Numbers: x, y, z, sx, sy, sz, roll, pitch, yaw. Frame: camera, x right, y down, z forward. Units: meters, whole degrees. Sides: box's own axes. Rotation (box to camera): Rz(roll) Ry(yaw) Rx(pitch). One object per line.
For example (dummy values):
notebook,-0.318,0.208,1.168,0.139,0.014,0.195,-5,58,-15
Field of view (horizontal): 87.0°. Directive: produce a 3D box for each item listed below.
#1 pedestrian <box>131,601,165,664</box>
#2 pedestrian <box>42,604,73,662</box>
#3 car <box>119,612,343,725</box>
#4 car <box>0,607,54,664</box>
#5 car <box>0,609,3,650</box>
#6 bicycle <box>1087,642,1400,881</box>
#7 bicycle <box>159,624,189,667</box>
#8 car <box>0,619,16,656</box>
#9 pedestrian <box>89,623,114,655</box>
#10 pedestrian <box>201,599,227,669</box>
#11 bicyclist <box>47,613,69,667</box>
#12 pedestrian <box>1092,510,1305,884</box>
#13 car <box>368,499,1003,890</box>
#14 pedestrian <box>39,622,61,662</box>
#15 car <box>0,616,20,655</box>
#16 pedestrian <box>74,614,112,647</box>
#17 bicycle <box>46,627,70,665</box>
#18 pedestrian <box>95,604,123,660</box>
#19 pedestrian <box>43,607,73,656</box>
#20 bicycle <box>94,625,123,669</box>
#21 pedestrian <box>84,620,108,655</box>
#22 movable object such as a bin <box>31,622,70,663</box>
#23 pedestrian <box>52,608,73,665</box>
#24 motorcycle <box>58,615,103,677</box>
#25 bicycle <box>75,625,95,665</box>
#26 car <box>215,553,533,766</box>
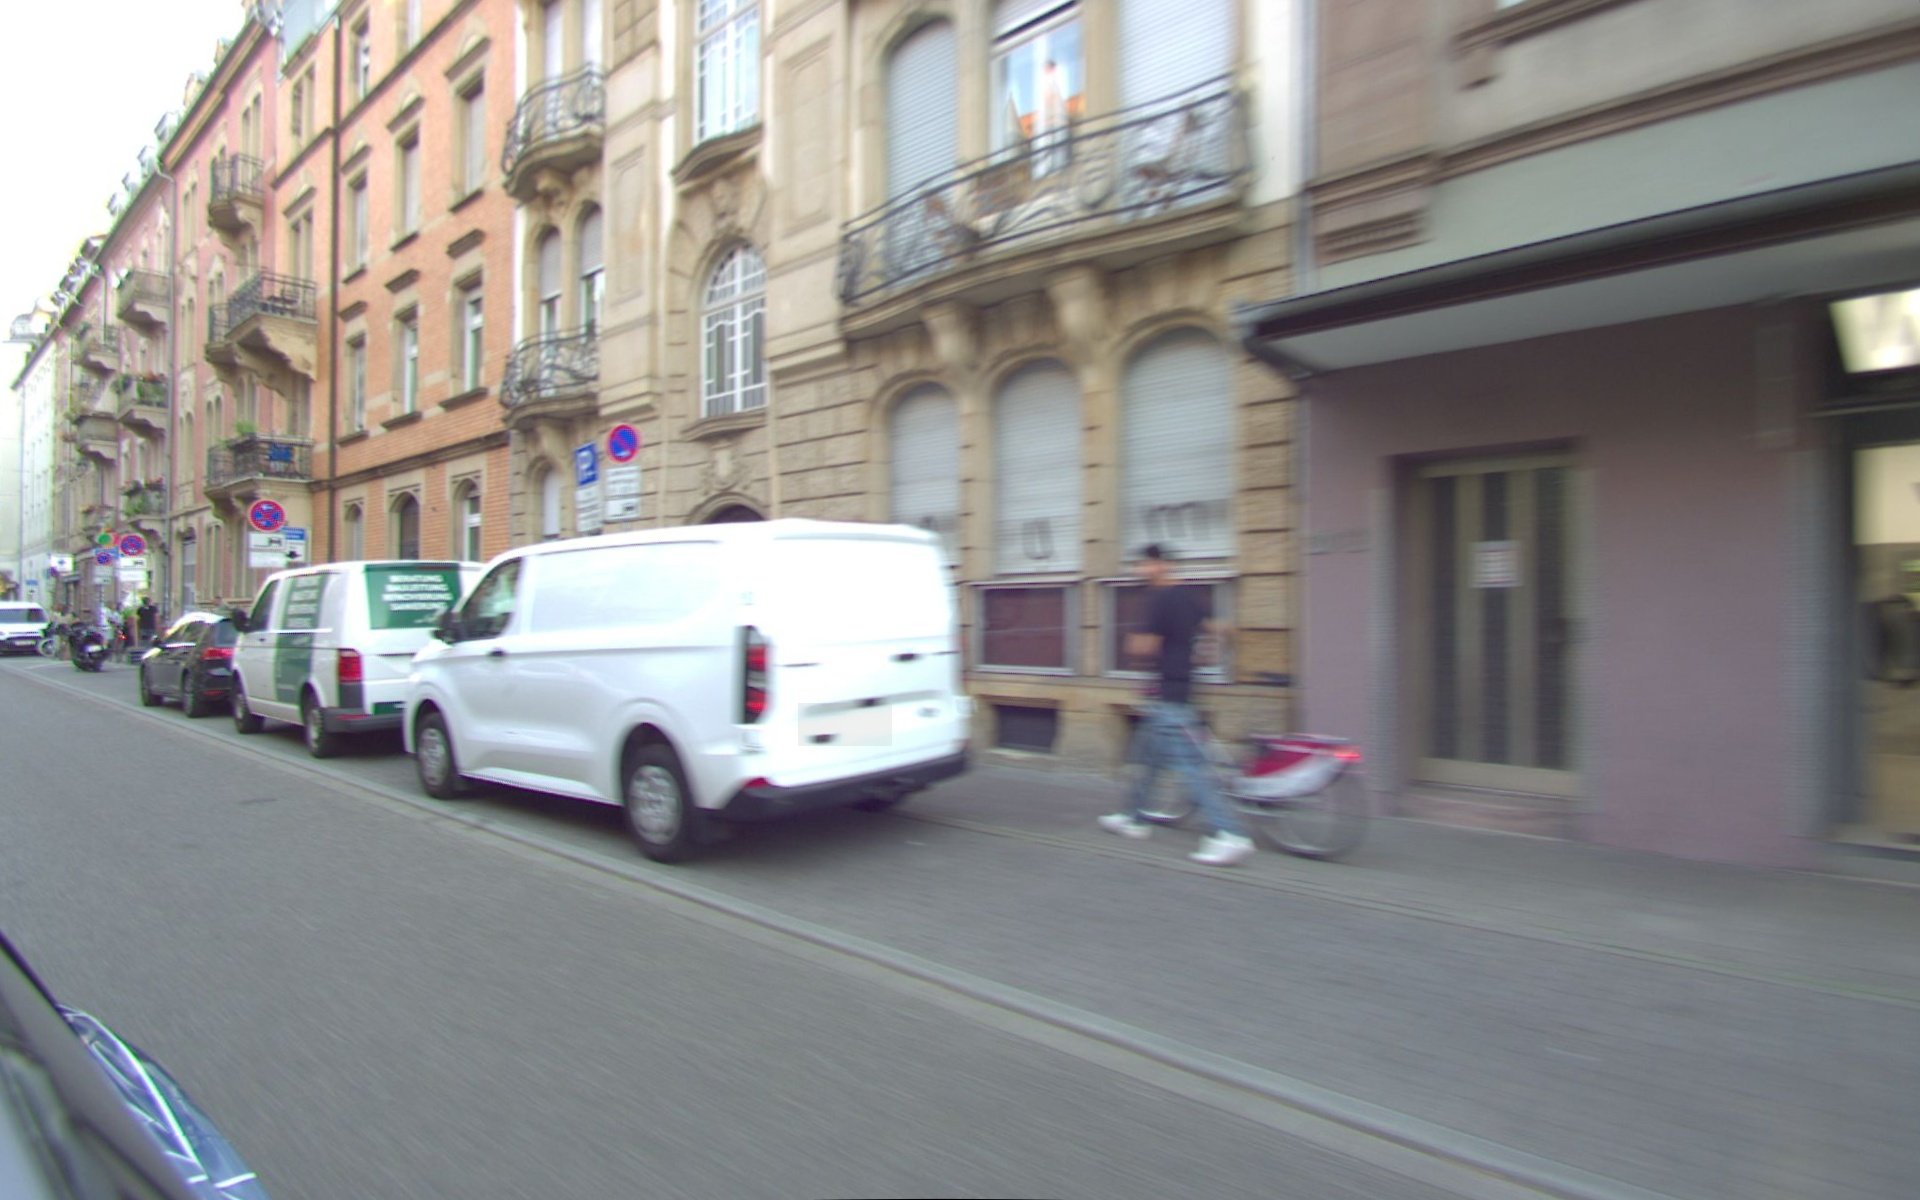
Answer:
pedestrian,-23.774,0.937,29.624,0.674,1.824,0.962,0,0,-44
pedestrian,-29.074,1.062,32.611,0.718,1.827,0.593,0,0,34
car,-11.134,0.932,15.356,4.170,1.482,1.818,-1,-1,40
car,-32.265,1.151,34.280,4.584,1.802,1.752,0,0,41
car,-46.878,1.405,47.877,4.903,1.897,1.907,-1,-1,42
bicycle,1.599,0.860,5.970,0.466,1.151,1.786,0,0,-44
bicycle,-22.673,1.290,29.185,1.838,1.168,0.407,0,0,43
car,-42.864,1.632,44.384,3.970,1.608,1.906,-1,-1,44
pedestrian,-31.729,1.446,37.402,0.572,1.148,0.625,0,0,40
pedestrian,-19.749,0.888,26.785,0.458,1.803,0.642,0,0,-44
bicyclist,-27.081,1.186,30.377,0.460,1.602,0.487,0,0,-45
pedestrian,1.280,0.474,5.509,0.530,1.837,0.997,0,0,-44
car,-2.291,0.507,7.469,5.023,1.936,2.087,-1,-1,41
pedestrian,-29.703,1.373,33.023,0.652,1.260,0.473,0,0,43
car,-39.623,1.430,41.269,3.793,1.541,1.686,-1,-1,44
pedestrian,-32.824,1.131,38.325,0.503,1.212,1.028,0,0,40
bicycle,-26.953,1.368,30.224,0.460,1.076,1.521,0,0,-44
pedestrian,-28.160,1.051,33.492,0.589,1.827,0.723,0,0,-30
pedestrian,-32.704,1.124,36.702,0.610,1.743,0.587,0,0,-20
bicycle,-23.876,1.303,28.376,1.838,1.168,0.407,0,0,43
pedestrian,-32.377,1.406,37.919,0.585,1.261,0.612,0,0,40
movable object such as a bin,-29.645,1.373,32.985,0.776,1.260,0.878,0,0,42
pedestrian,-27.386,1.095,30.891,0.350,1.722,0.414,0,0,37
motorcycle,-21.275,1.084,24.479,2.015,1.415,0.677,0,0,45
bicycle,-27.028,1.367,31.256,0.460,1.164,2.003,0,0,-41
car,-6.822,0.577,11.512,4.846,1.936,1.817,-1,-1,43
